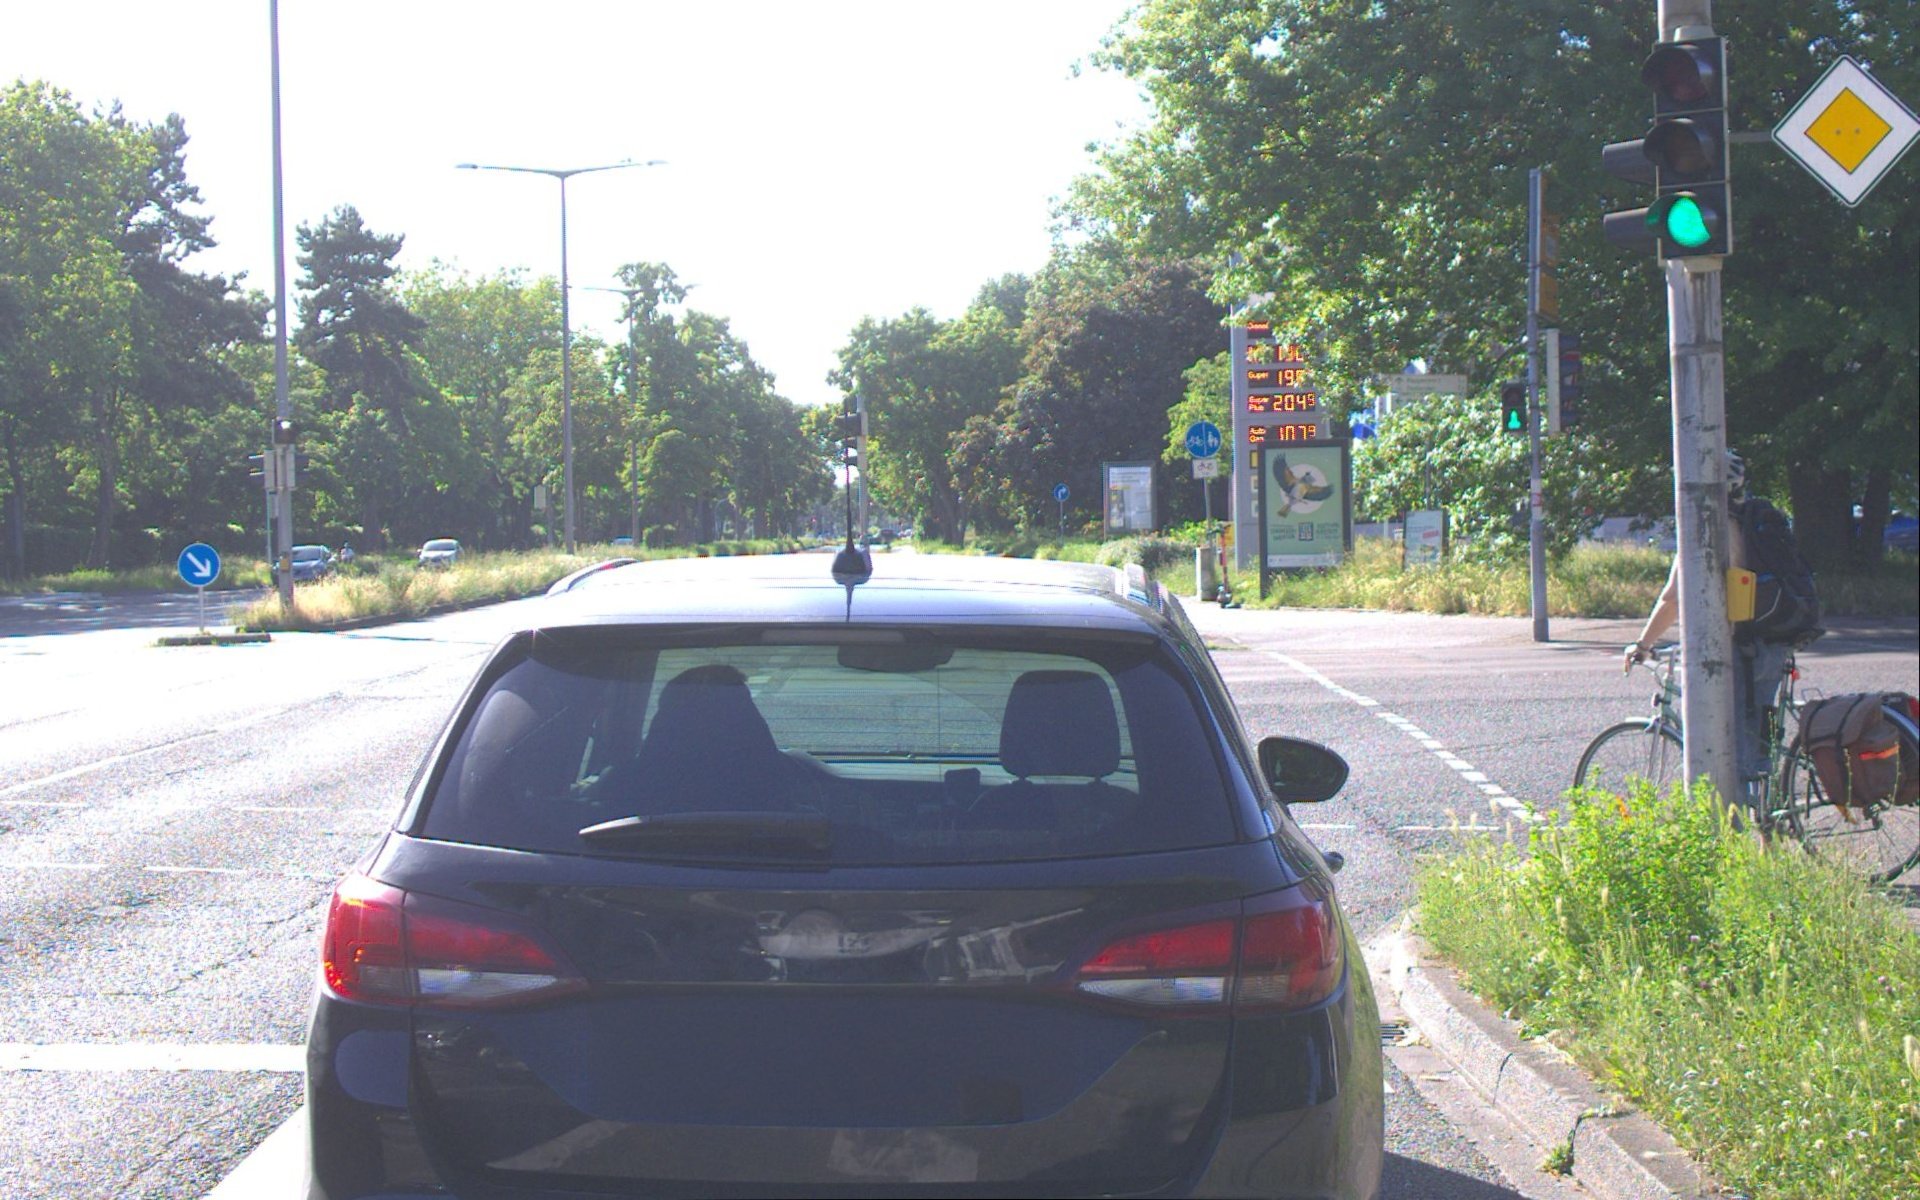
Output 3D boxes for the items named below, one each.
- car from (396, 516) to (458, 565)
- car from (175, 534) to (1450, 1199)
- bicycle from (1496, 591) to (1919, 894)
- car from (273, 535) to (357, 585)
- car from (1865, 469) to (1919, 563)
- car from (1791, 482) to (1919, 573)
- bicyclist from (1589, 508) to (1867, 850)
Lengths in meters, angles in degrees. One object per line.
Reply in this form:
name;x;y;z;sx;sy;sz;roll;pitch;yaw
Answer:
car;-22.605;-2.527;145.937;1.993;2.007;4.000;-2;1;-1
car;-0.228;0.632;6.852;1.756;1.490;4.207;0;1;-1
bicycle;2.983;0.547;13.338;0.536;1.094;1.775;-3;0;-44
car;-20.997;-1.328;112.085;1.993;1.525;4.000;-2;1;-1
car;17.094;-1.428;56.722;3.887;1.512;1.746;-2;1;-23
car;16.618;-1.287;59.808;3.887;1.512;1.746;-2;1;-23
bicyclist;2.975;0.306;13.336;0.536;1.272;0.829;-3;0;-44
